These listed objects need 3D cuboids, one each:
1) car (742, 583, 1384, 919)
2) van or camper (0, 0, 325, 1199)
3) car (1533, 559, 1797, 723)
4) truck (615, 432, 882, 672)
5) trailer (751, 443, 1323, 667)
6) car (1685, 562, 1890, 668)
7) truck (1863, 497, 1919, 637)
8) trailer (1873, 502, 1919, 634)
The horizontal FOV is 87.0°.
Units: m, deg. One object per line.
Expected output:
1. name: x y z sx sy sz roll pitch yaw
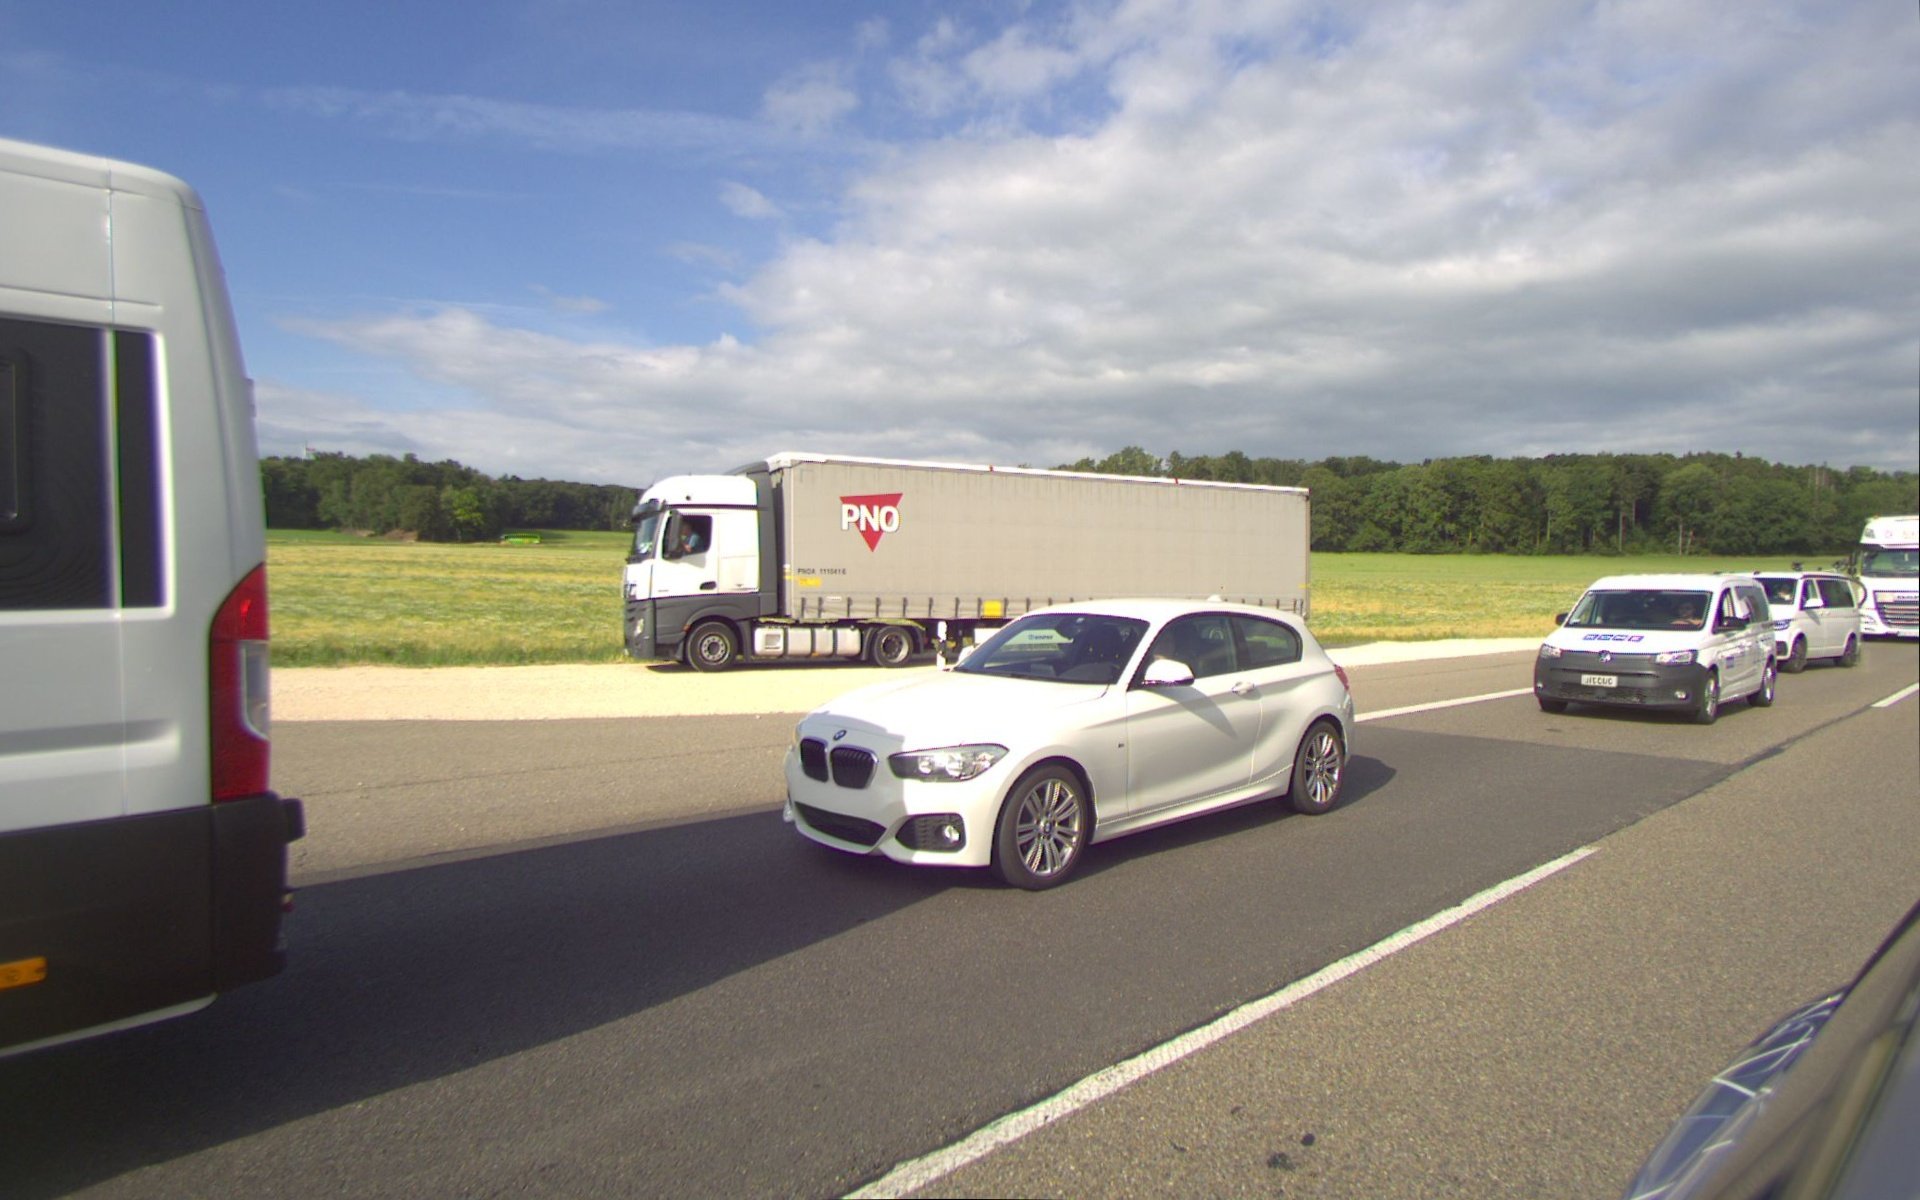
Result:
1. car: 0.885 0.642 6.411 4.159 1.450 1.706 0 0 -42
2. van or camper: -4.676 0.007 1.359 6.223 2.714 2.219 0 1 -42
3. car: 9.265 0.436 13.143 4.620 1.779 1.727 0 0 -41
4. truck: -4.218 -0.853 20.065 4.662 4.226 2.727 0 0 -26
5. trailer: 2.259 -0.851 23.216 13.543 4.213 2.748 0 0 -26
6. car: 17.122 0.263 20.847 5.165 1.949 1.802 0 0 -33
7. truck: 31.147 -1.039 32.337 5.667 4.226 2.733 -1 1 -41
8. trailer: 35.818 -1.143 36.501 13.778 4.212 2.739 -1 1 -42
